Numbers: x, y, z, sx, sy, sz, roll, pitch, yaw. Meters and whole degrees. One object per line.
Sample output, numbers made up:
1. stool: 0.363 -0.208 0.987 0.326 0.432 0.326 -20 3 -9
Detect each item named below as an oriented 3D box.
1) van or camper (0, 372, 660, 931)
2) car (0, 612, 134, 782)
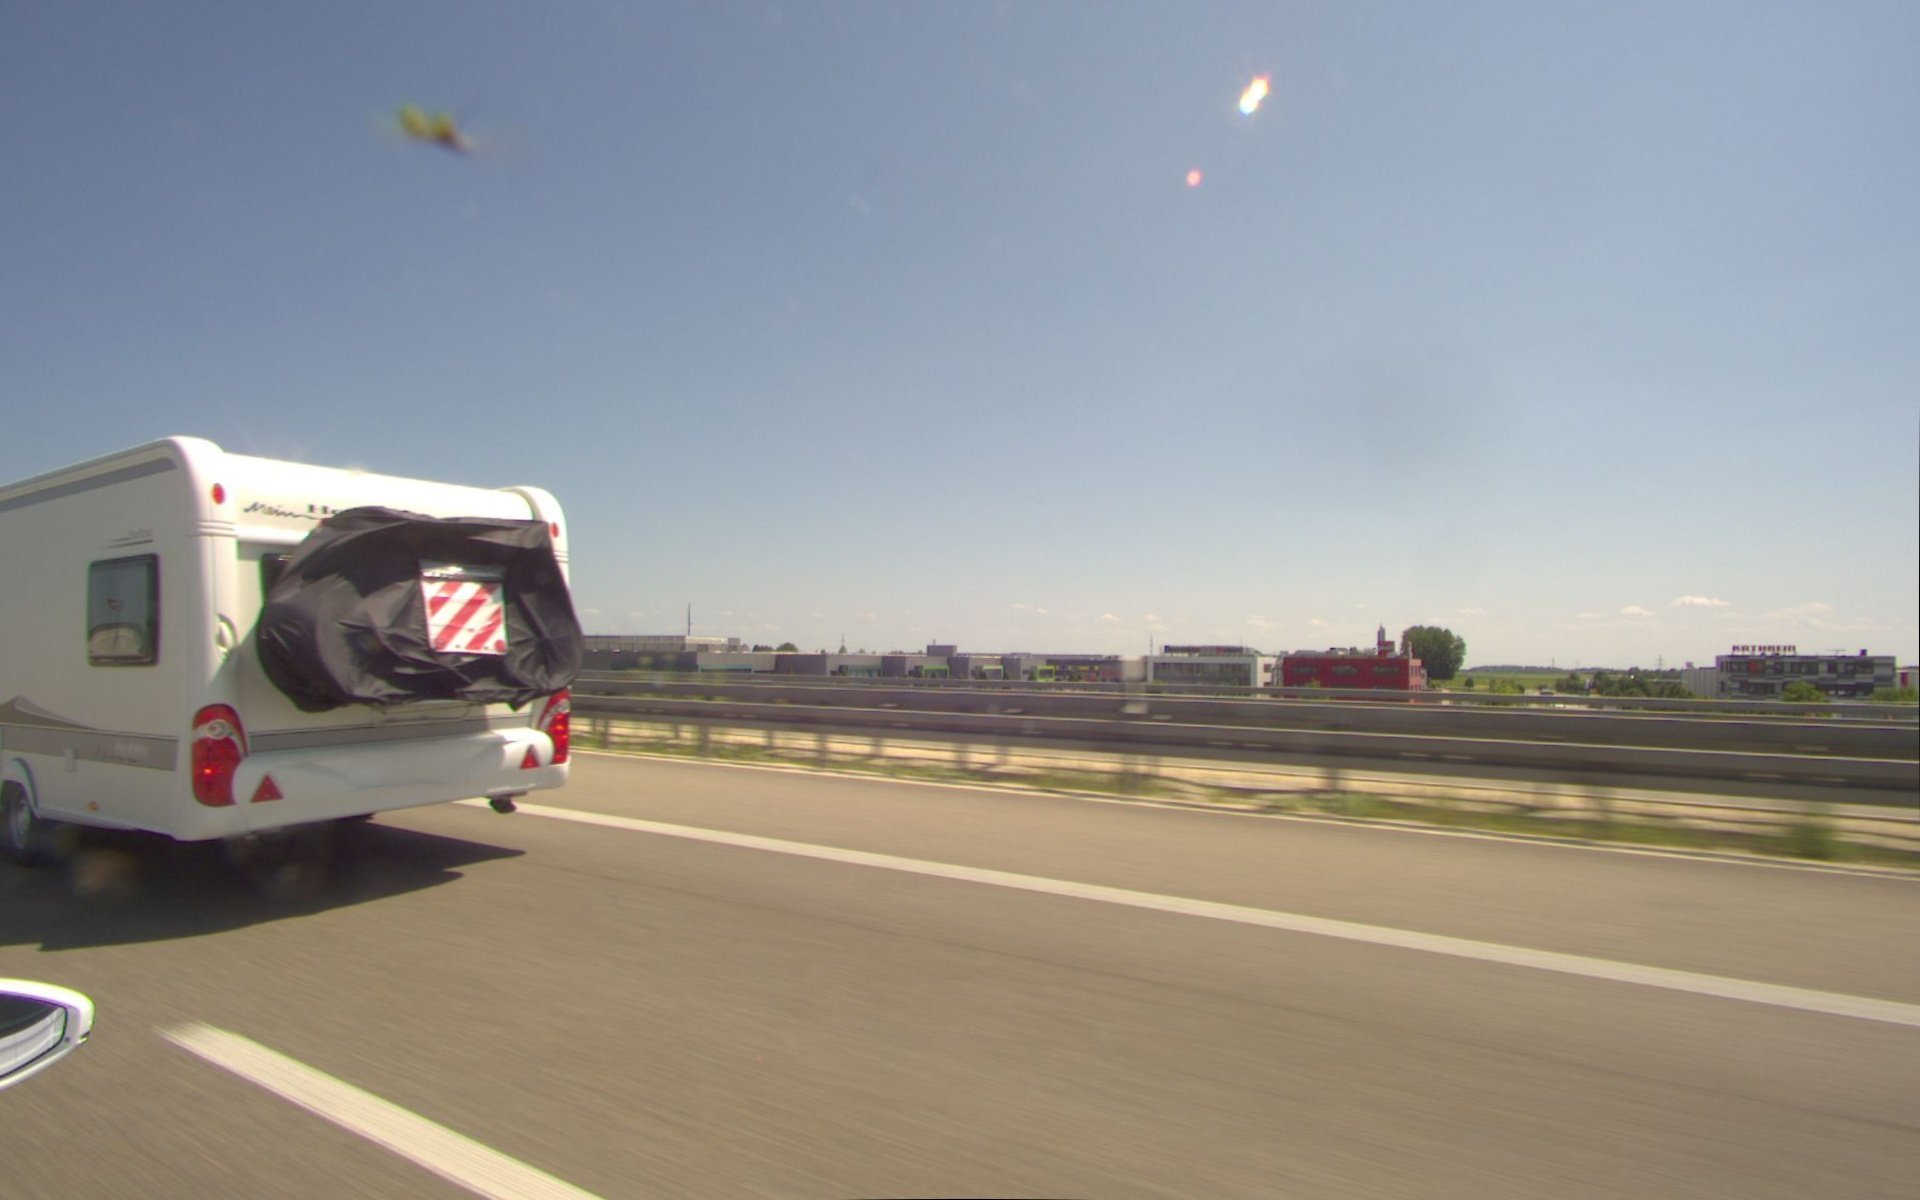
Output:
1. van or camper: -5.976 0.315 7.839 7.705 2.626 2.508 -1 -2 32
2. car: -11.314 0.980 11.123 4.833 1.643 1.878 -1 -2 32
